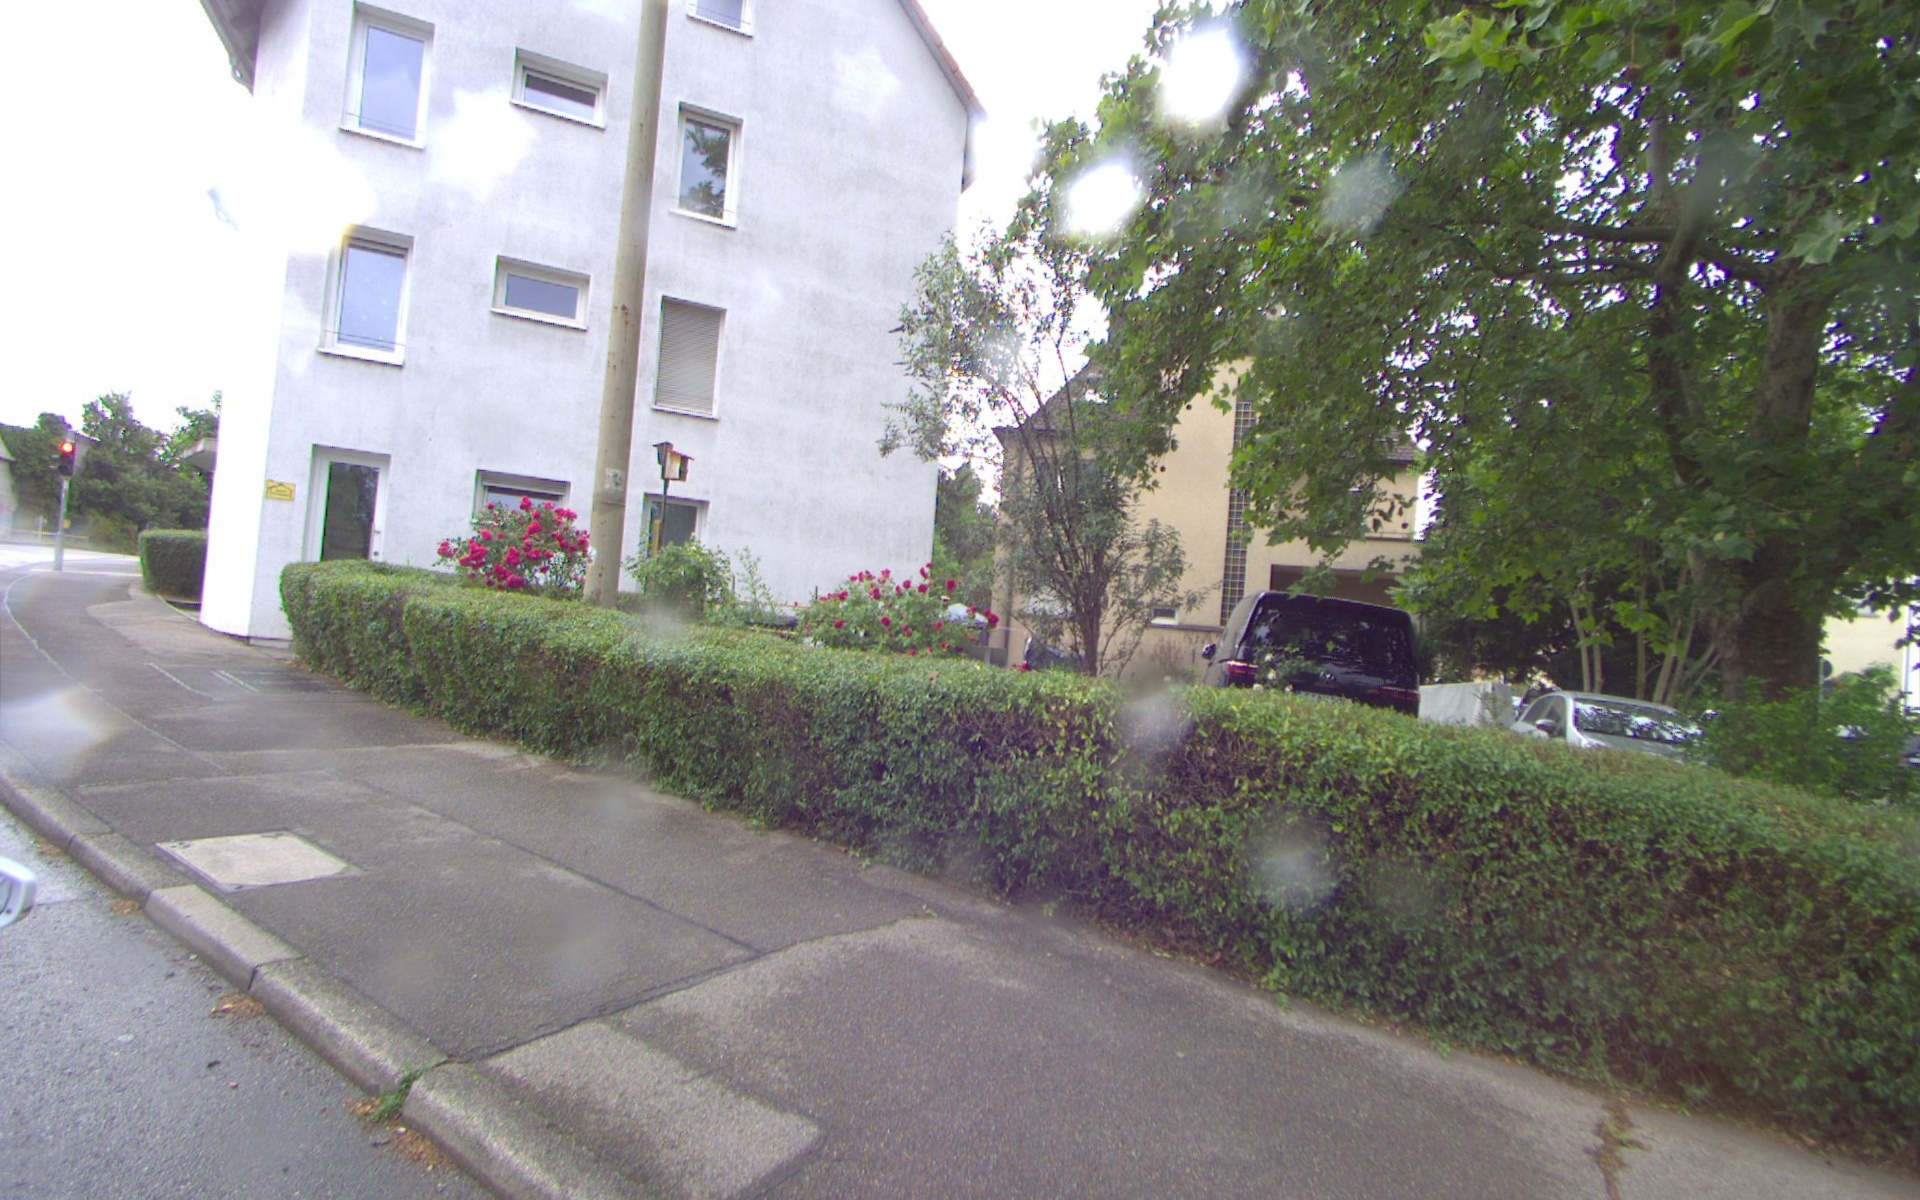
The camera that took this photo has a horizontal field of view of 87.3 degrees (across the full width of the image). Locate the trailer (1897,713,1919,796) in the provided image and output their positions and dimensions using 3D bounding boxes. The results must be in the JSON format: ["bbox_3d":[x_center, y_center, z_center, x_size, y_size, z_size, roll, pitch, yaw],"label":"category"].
[{"bbox_3d":[24.722,3.914,23.975,1.640,2.037,3.494,6,-1,8],"label":"trailer"}]

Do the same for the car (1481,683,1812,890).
[{"bbox_3d":[7.388,1.875,11.346,1.788,1.599,4.003,6,-2,16],"label":"car"}]

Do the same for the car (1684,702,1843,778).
[{"bbox_3d":[26.350,4.542,33.234,1.962,1.861,4.584,6,-1,9],"label":"car"}]

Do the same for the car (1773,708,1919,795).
[{"bbox_3d":[25.266,4.202,27.988,1.962,1.861,4.584,6,-1,9],"label":"car"}]

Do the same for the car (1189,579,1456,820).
[{"bbox_3d":[3.760,0.987,11.303,1.962,1.955,4.419,6,-1,11],"label":"car"}]
